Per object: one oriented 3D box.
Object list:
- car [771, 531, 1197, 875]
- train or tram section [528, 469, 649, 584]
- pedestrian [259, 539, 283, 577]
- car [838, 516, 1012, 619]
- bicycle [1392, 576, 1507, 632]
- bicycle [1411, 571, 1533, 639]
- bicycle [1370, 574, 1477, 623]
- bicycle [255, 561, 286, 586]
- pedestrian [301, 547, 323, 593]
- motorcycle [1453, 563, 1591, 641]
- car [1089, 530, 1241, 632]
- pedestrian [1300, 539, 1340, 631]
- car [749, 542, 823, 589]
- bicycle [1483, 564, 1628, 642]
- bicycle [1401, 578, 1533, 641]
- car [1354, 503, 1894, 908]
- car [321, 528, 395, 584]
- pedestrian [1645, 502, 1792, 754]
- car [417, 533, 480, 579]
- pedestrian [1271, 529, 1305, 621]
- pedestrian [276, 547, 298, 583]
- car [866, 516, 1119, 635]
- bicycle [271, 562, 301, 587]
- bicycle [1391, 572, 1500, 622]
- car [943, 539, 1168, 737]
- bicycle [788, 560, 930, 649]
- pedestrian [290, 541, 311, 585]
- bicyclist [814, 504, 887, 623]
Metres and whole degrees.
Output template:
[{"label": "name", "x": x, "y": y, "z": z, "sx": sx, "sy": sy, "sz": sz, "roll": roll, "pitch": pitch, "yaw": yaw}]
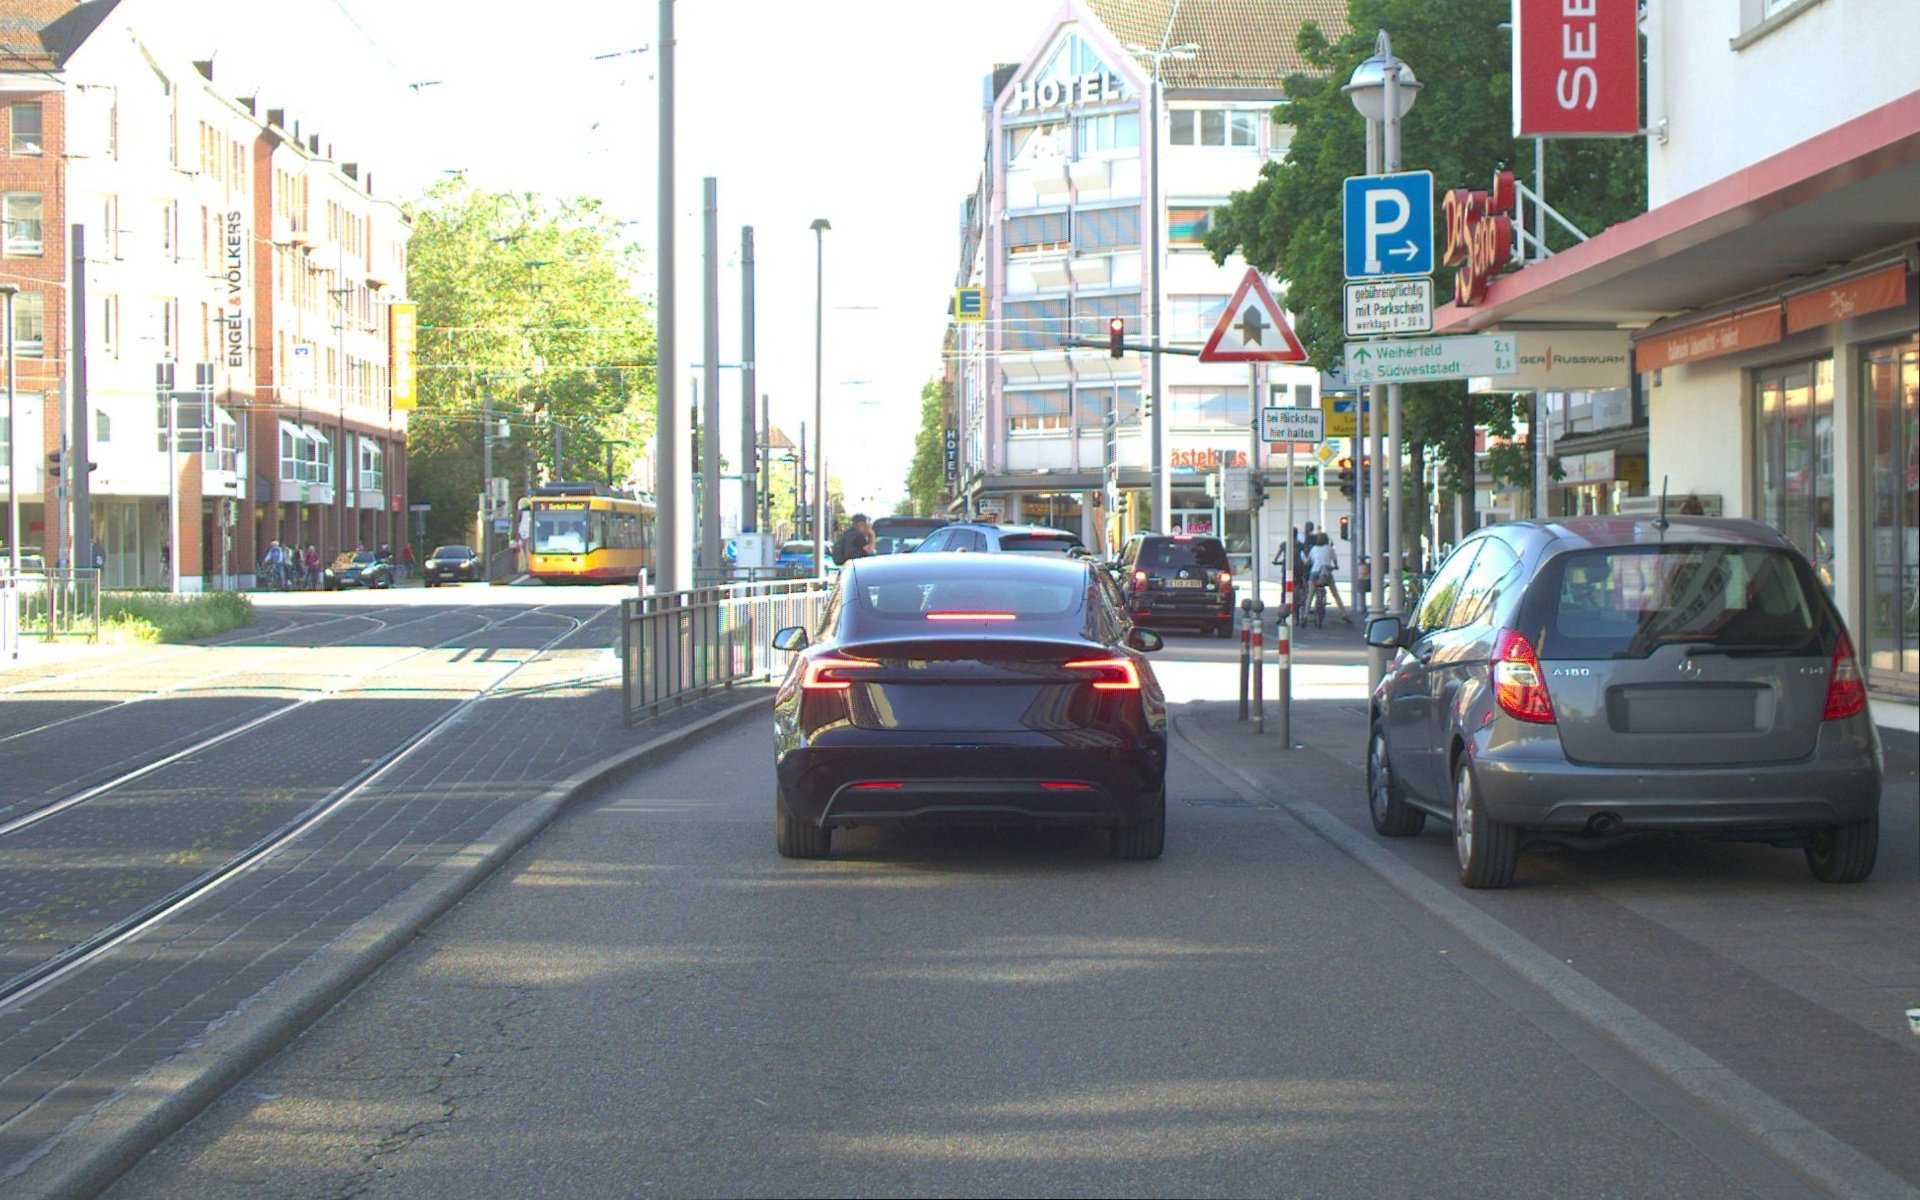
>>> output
[{"label": "car", "x": 0.044, "y": 0.439, "z": 17.108, "sx": 1.849, "sy": 1.479, "sz": 3.787, "roll": 1, "pitch": 0, "yaw": -2}, {"label": "train or tram section", "x": -12.911, "y": -2.503, "z": 120.716, "sx": 2.674, "sy": 3.703, "sz": 14.193, "roll": 2, "pitch": 1, "yaw": 0}, {"label": "pedestrian", "x": -24.192, "y": -1.464, "z": 120.717, "sx": 0.711, "sy": 1.337, "sz": 0.666, "roll": 0, "pitch": 1, "yaw": 0}, {"label": "car", "x": -0.599, "y": -0.539, "z": 54.786, "sx": 1.824, "sy": 1.514, "sz": 4.219, "roll": 2, "pitch": 1, "yaw": -13}, {"label": "bicycle", "x": 8.562, "y": 0.070, "z": 60.120, "sx": 1.924, "sy": 0.947, "sz": 0.526, "roll": 1, "pitch": 0, "yaw": 1}, {"label": "bicycle", "x": 8.520, "y": 0.084, "z": 57.231, "sx": 1.924, "sy": 1.093, "sz": 0.555, "roll": 1, "pitch": 0, "yaw": 1}, {"label": "bicycle", "x": 8.690, "y": -0.036, "z": 64.472, "sx": 1.924, "sy": 0.887, "sz": 0.526, "roll": 1, "pitch": 0, "yaw": 1}, {"label": "bicycle", "x": -24.196, "y": -0.924, "z": 120.678, "sx": 0.702, "sy": 0.852, "sz": 2.053, "roll": 0, "pitch": 1, "yaw": -1}, {"label": "pedestrian", "x": -24.073, "y": -1.119, "z": 127.727, "sx": 0.711, "sy": 1.661, "sz": 0.564, "roll": 2, "pitch": 0, "yaw": -9}, {"label": "motorcycle", "x": 8.668, "y": 0.031, "z": 53.099, "sx": 1.991, "sy": 1.124, "sz": 0.596, "roll": 2, "pitch": 0, "yaw": 0}, {"label": "car", "x": 3.252, "y": -0.320, "z": 55.160, "sx": 1.824, "sy": 1.514, "sz": 3.650, "roll": 2, "pitch": 1, "yaw": -6}, {"label": "pedestrian", "x": 6.399, "y": -0.267, "z": 61.137, "sx": 0.629, "sy": 1.608, "sz": 0.643, "roll": 1, "pitch": 1, "yaw": 3}, {"label": "car", "x": -5.590, "y": -1.108, "z": 110.844, "sx": 1.994, "sy": 1.415, "sz": 4.000, "roll": 2, "pitch": 1, "yaw": 2}, {"label": "bicycle", "x": 8.832, "y": 0.044, "z": 51.001, "sx": 2.051, "sy": 1.118, "sz": 0.483, "roll": 1, "pitch": 0, "yaw": 1}, {"label": "bicycle", "x": 8.131, "y": 0.146, "z": 55.169, "sx": 2.051, "sy": 0.979, "sz": 0.483, "roll": 1, "pitch": 0, "yaw": 1}, {"label": "car", "x": 2.926, "y": 0.394, "z": 15.881, "sx": 1.745, "sy": 1.626, "sz": 3.649, "roll": -1, "pitch": 1, "yaw": 0}, {"label": "car", "x": -21.962, "y": -1.614, "z": 125.548, "sx": 1.993, "sy": 2.007, "sz": 4.000, "roll": 0, "pitch": 1, "yaw": 0}, {"label": "pedestrian", "x": 5.214, "y": 0.185, "z": 23.611, "sx": 0.818, "sy": 1.677, "sz": 0.714, "roll": 2, "pitch": 0, "yaw": 23}, {"label": "car", "x": -19.158, "y": -1.644, "z": 128.905, "sx": 1.751, "sy": 1.645, "sz": 4.000, "roll": 2, "pitch": 1, "yaw": 0}, {"label": "pedestrian", "x": 6.037, "y": -0.462, "z": 63.274, "sx": 0.562, "sy": 1.677, "sz": 0.750, "roll": 1, "pitch": 1, "yaw": 4}, {"label": "pedestrian", "x": -24.217, "y": -1.266, "z": 123.654, "sx": 0.696, "sy": 1.303, "sz": 0.564, "roll": 0, "pitch": 1, "yaw": -1}, {"label": "car", "x": 0.396, "y": -0.360, "z": 47.545, "sx": 1.783, "sy": 1.514, "sz": 4.219, "roll": 2, "pitch": 1, "yaw": -26}, {"label": "bicycle", "x": -24.221, "y": -0.917, "z": 123.585, "sx": 0.702, "sy": 0.852, "sz": 2.053, "roll": 0, "pitch": 1, "yaw": -1}, {"label": "bicycle", "x": 8.917, "y": -0.049, "z": 63.144, "sx": 1.924, "sy": 0.887, "sz": 0.526, "roll": 1, "pitch": 0, "yaw": 1}, {"label": "car", "x": 0.719, "y": 0.249, "z": 27.902, "sx": 1.653, "sy": 1.413, "sz": 4.000, "roll": 2, "pitch": 1, "yaw": 0}, {"label": "bicycle", "x": -1.314, "y": 0.055, "z": 44.408, "sx": 1.727, "sy": 1.084, "sz": 0.678, "roll": 2, "pitch": 0, "yaw": -8}, {"label": "pedestrian", "x": -24.080, "y": -1.355, "z": 125.545, "sx": 0.711, "sy": 1.549, "sz": 0.564, "roll": 2, "pitch": 0, "yaw": -9}, {"label": "bicyclist", "x": -1.418, "y": -0.468, "z": 44.420, "sx": 0.836, "sy": 1.494, "sz": 0.560, "roll": 2, "pitch": 0, "yaw": -8}]
